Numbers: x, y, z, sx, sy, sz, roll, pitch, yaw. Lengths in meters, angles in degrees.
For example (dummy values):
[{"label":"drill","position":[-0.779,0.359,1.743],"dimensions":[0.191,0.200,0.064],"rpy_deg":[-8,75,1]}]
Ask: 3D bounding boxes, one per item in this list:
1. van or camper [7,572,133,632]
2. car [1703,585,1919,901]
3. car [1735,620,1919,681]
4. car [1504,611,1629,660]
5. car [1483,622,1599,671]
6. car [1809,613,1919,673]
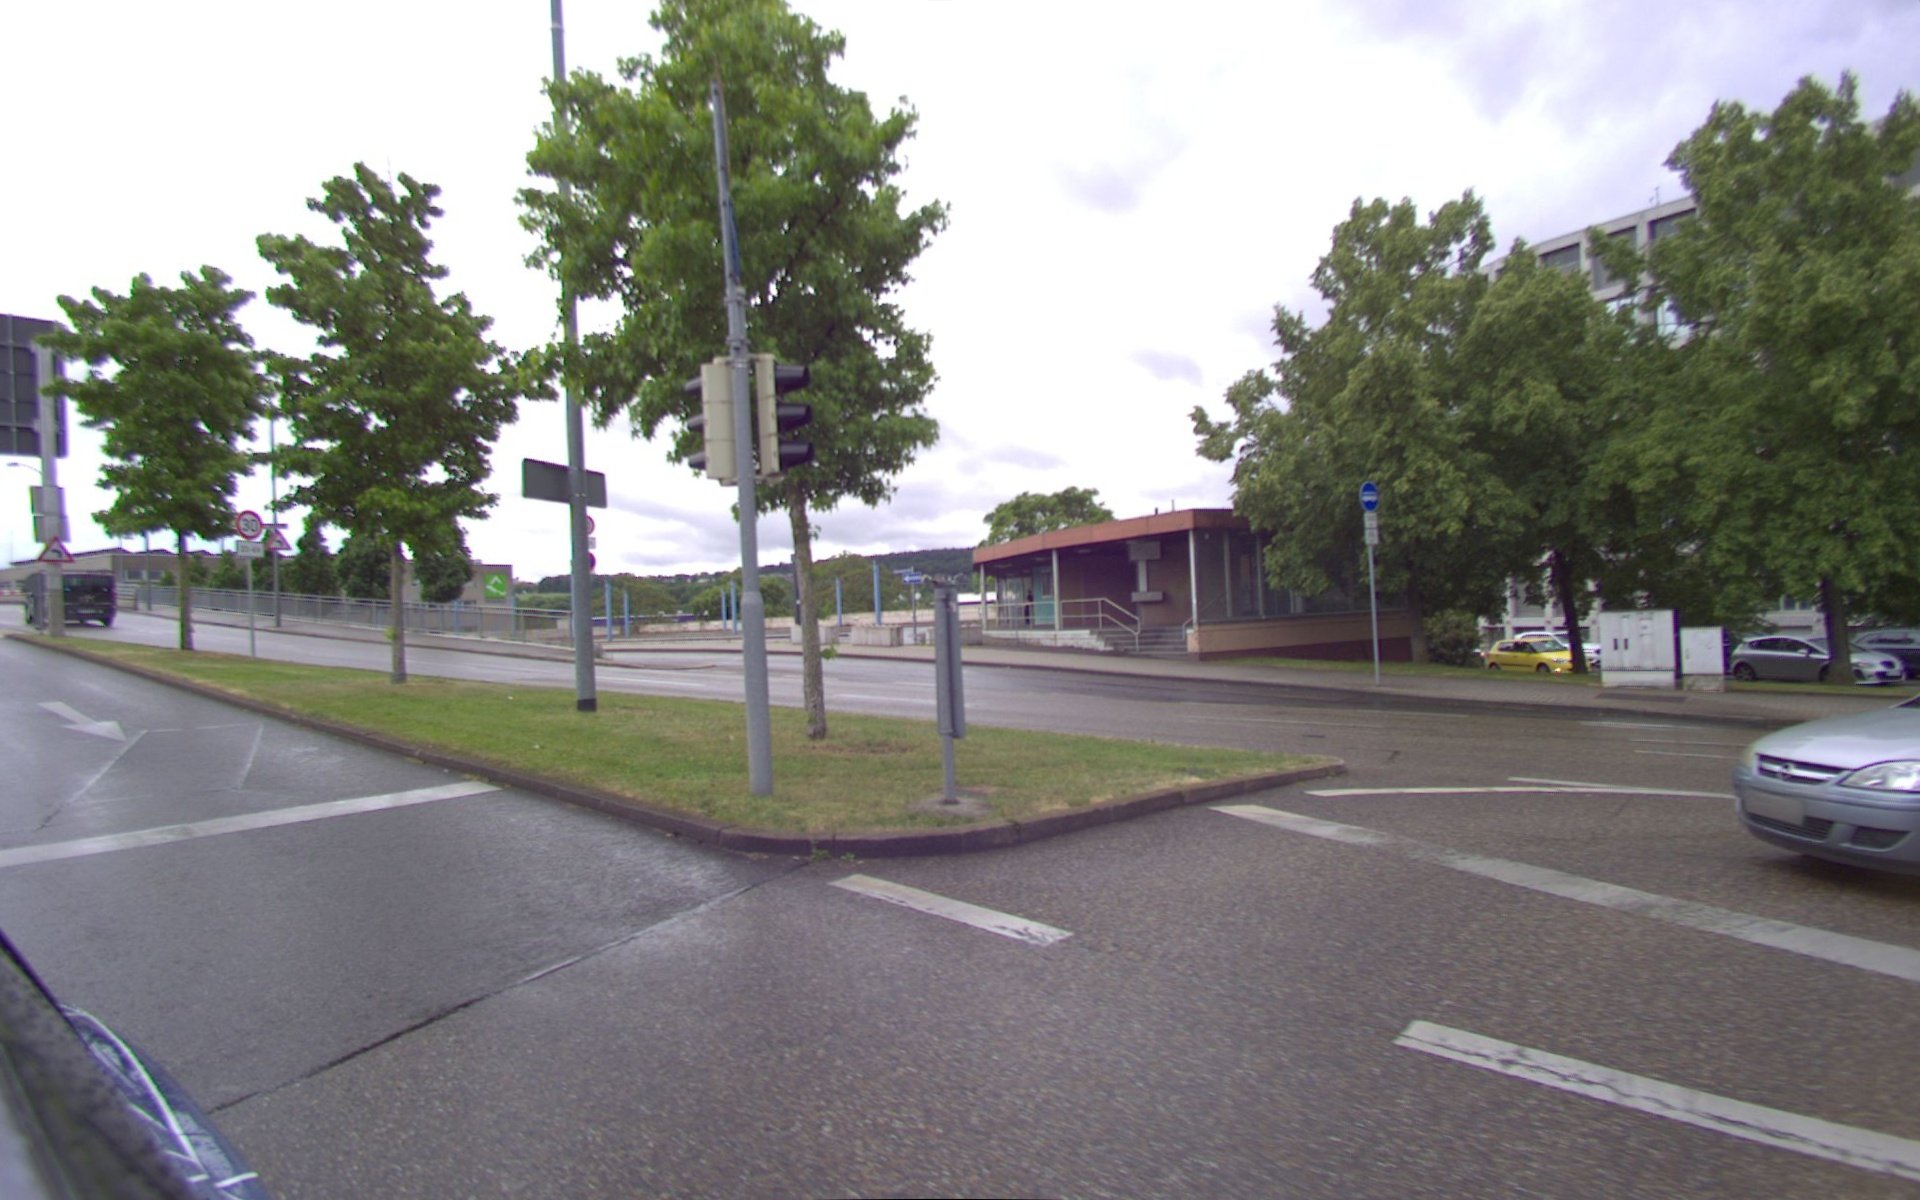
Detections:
[{"label":"van or camper","position":[-33.663,0.062,38.224],"dimensions":[5.268,2.088,2.199],"rpy_deg":[1,-1,33]},{"label":"car","position":[6.428,0.668,5.208],"dimensions":[3.830,1.459,1.633],"rpy_deg":[0,-2,8]},{"label":"car","position":[23.867,1.324,27.753],"dimensions":[1.701,1.519,4.062],"rpy_deg":[-1,-1,-8]},{"label":"car","position":[24.508,1.429,41.099],"dimensions":[1.699,1.832,4.441],"rpy_deg":[-1,-1,-13]},{"label":"car","position":[21.695,1.699,37.934],"dimensions":[1.699,1.711,3.660],"rpy_deg":[-1,-1,-12]},{"label":"car","position":[26.696,1.189,28.675],"dimensions":[1.701,1.580,3.843],"rpy_deg":[-1,-1,-6]}]
